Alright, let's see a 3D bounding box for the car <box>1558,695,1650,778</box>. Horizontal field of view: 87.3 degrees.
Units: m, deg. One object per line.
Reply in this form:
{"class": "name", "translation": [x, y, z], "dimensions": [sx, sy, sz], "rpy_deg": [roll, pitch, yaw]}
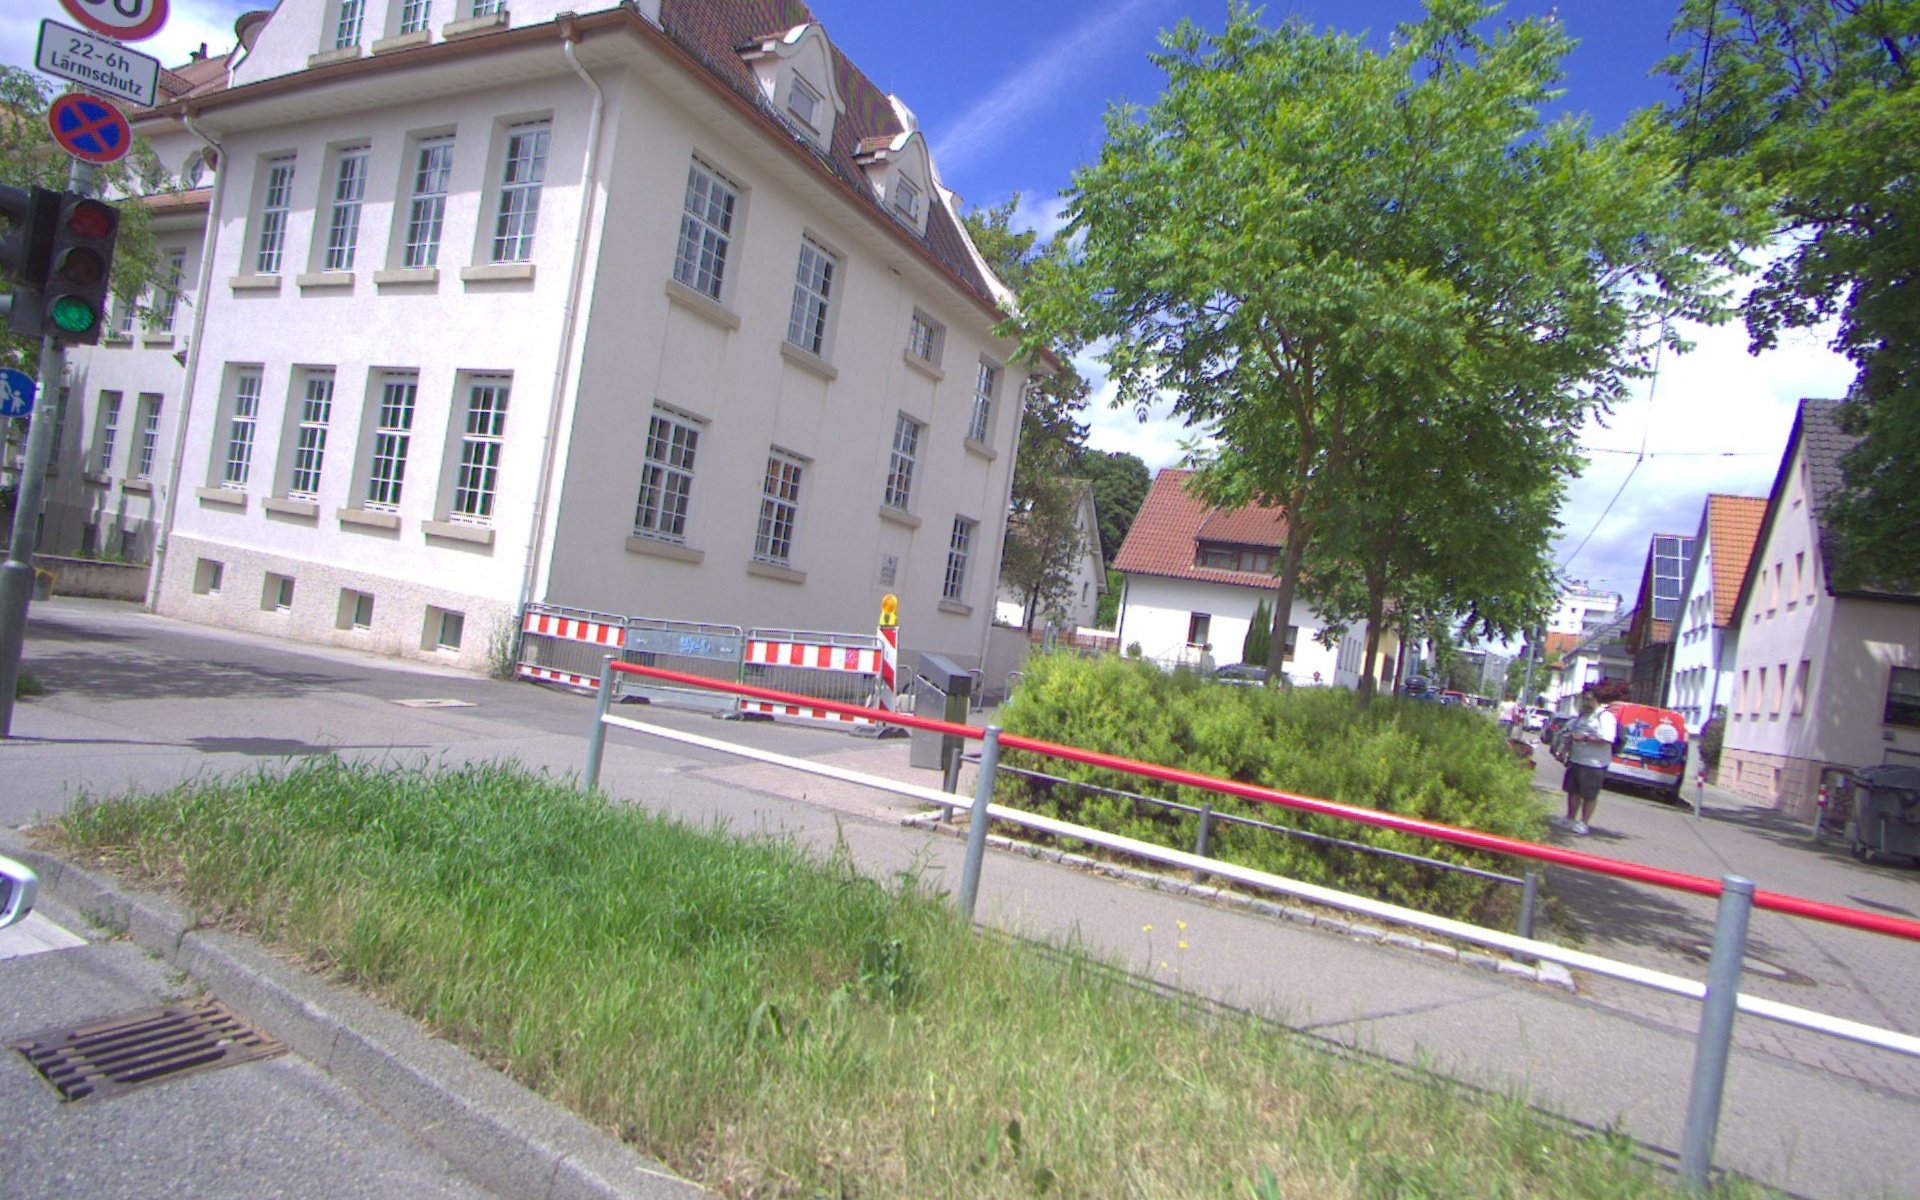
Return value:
{"class": "car", "translation": [18.961, 4.001, 29.761], "dimensions": [1.796, 2.036, 3.998], "rpy_deg": [6, -3, 29]}

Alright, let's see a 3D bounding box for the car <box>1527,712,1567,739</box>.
{"class": "car", "translation": [37.534, 8.008, 64.420], "dimensions": [1.820, 1.414, 3.998], "rpy_deg": [6, -2, 27]}

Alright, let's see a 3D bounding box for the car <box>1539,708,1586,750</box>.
{"class": "car", "translation": [27.763, 5.916, 46.450], "dimensions": [1.573, 1.438, 3.993], "rpy_deg": [6, 0, 29]}

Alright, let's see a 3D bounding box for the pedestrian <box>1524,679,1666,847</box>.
{"class": "pedestrian", "translation": [7.995, 2.023, 12.734], "dimensions": [1.126, 1.840, 0.751], "rpy_deg": [11, 1, 23]}

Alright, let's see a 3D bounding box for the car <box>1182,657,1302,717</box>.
{"class": "car", "translation": [10.341, 3.169, 36.948], "dimensions": [3.800, 1.651, 1.775], "rpy_deg": [6, -1, 31]}

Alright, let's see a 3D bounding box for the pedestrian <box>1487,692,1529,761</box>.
{"class": "pedestrian", "translation": [15.181, 3.505, 27.867], "dimensions": [0.835, 1.746, 0.758], "rpy_deg": [6, -3, 29]}

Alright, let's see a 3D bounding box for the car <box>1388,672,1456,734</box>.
{"class": "car", "translation": [17.950, 3.994, 38.995], "dimensions": [1.822, 2.037, 3.995], "rpy_deg": [6, -2, 30]}

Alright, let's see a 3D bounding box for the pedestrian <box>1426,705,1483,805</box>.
{"class": "pedestrian", "translation": [6.669, 2.082, 13.591], "dimensions": [0.453, 1.244, 0.406], "rpy_deg": [7, -1, 8]}

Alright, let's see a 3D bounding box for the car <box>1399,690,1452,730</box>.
{"class": "car", "translation": [20.186, 4.725, 43.550], "dimensions": [1.820, 1.414, 3.998], "rpy_deg": [6, -2, 27]}

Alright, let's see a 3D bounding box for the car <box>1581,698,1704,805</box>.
{"class": "car", "translation": [16.617, 3.623, 24.700], "dimensions": [1.966, 2.037, 3.995], "rpy_deg": [10, 0, 31]}

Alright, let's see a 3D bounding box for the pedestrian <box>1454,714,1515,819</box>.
{"class": "pedestrian", "translation": [6.707, 2.122, 12.882], "dimensions": [0.453, 1.244, 0.406], "rpy_deg": [7, -1, 8]}

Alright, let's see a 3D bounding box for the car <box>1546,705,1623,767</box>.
{"class": "car", "translation": [21.288, 4.568, 34.433], "dimensions": [1.795, 1.693, 4.357], "rpy_deg": [6, -2, 29]}

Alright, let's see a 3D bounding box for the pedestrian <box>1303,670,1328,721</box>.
{"class": "pedestrian", "translation": [12.376, 3.321, 35.044], "dimensions": [0.601, 1.675, 0.431], "rpy_deg": [7, -1, 28]}
